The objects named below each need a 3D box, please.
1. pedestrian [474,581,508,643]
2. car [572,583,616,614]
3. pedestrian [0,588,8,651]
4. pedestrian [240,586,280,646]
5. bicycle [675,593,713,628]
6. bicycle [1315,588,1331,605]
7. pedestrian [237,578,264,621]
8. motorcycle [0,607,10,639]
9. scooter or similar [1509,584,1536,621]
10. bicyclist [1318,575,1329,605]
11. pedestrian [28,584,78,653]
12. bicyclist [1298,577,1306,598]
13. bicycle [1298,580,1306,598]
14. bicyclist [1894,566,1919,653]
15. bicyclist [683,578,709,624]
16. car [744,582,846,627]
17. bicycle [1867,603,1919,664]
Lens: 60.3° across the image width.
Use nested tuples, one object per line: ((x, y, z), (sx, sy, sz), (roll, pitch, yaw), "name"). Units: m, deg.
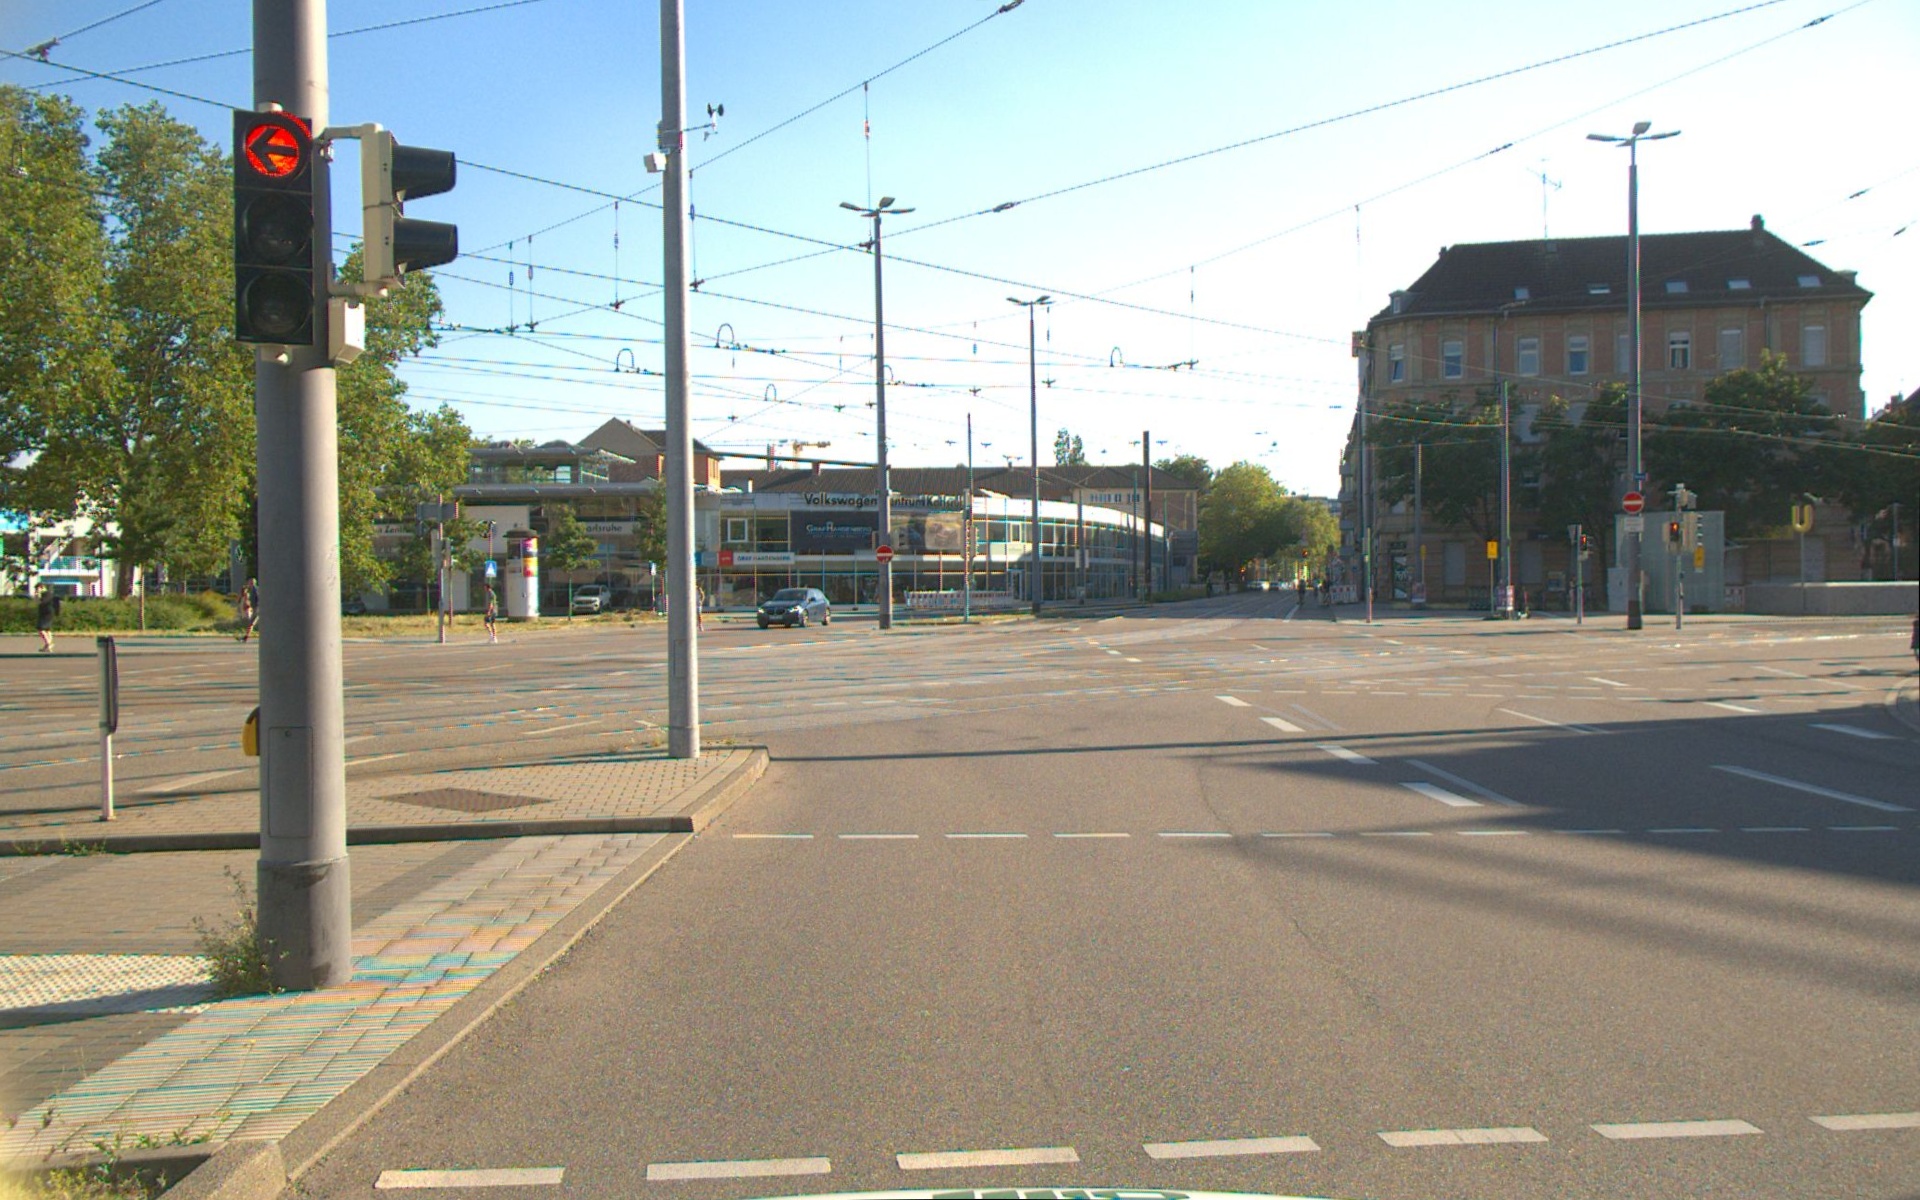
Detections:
((-14.811, 0.368, 52.246), (0.777, 1.919, 0.759), (1, -1, 6), "pedestrian")
((-21.863, -0.079, 98.990), (1.954, 1.780, 3.997), (1, 0, -4), "car")
((-26.760, 0.530, 45.386), (0.777, 1.736, 0.759), (1, -1, 6), "pedestrian")
((-20.420, 0.464, 48.249), (0.777, 1.736, 0.759), (1, -1, 6), "pedestrian")
((-9.556, 0.380, 59.469), (0.599, 1.210, 1.870), (1, 0, 17), "bicycle")
((20.772, -0.198, 94.673), (0.643, 0.969, 1.601), (1, 0, 5), "bicycle")
((-28.423, -0.024, 66.275), (0.839, 1.723, 0.496), (1, -1, -3), "pedestrian")
((-28.925, 0.676, 48.491), (1.748, 0.930, 0.675), (1, 0, -21), "motorcycle")
((21.619, 0.101, 63.603), (0.769, 1.400, 1.910), (1, 0, 13), "scooter or similar")
((20.768, -0.584, 94.602), (0.508, 1.730, 0.516), (1, -1, 2), "bicyclist")
((-22.961, 0.464, 41.881), (0.777, 1.736, 0.759), (1, -1, 6), "pedestrian")
((18.389, -0.670, 88.891), (0.399, 1.136, 0.399), (1, -1, 11), "bicyclist")
((18.338, -0.575, 88.656), (0.401, 0.958, 1.847), (1, 0, 12), "bicycle")
((17.581, 0.174, 30.121), (0.505, 1.584, 0.945), (1, 0, -9), "bicyclist")
((-9.510, 0.052, 59.614), (0.585, 1.644, 0.823), (1, -1, 17), "bicyclist")
((-6.110, 0.168, 61.617), (1.954, 1.613, 3.996), (1, 0, 26), "car")
((17.569, 0.626, 30.128), (0.524, 1.067, 2.316), (1, 1, -9), "bicycle")
